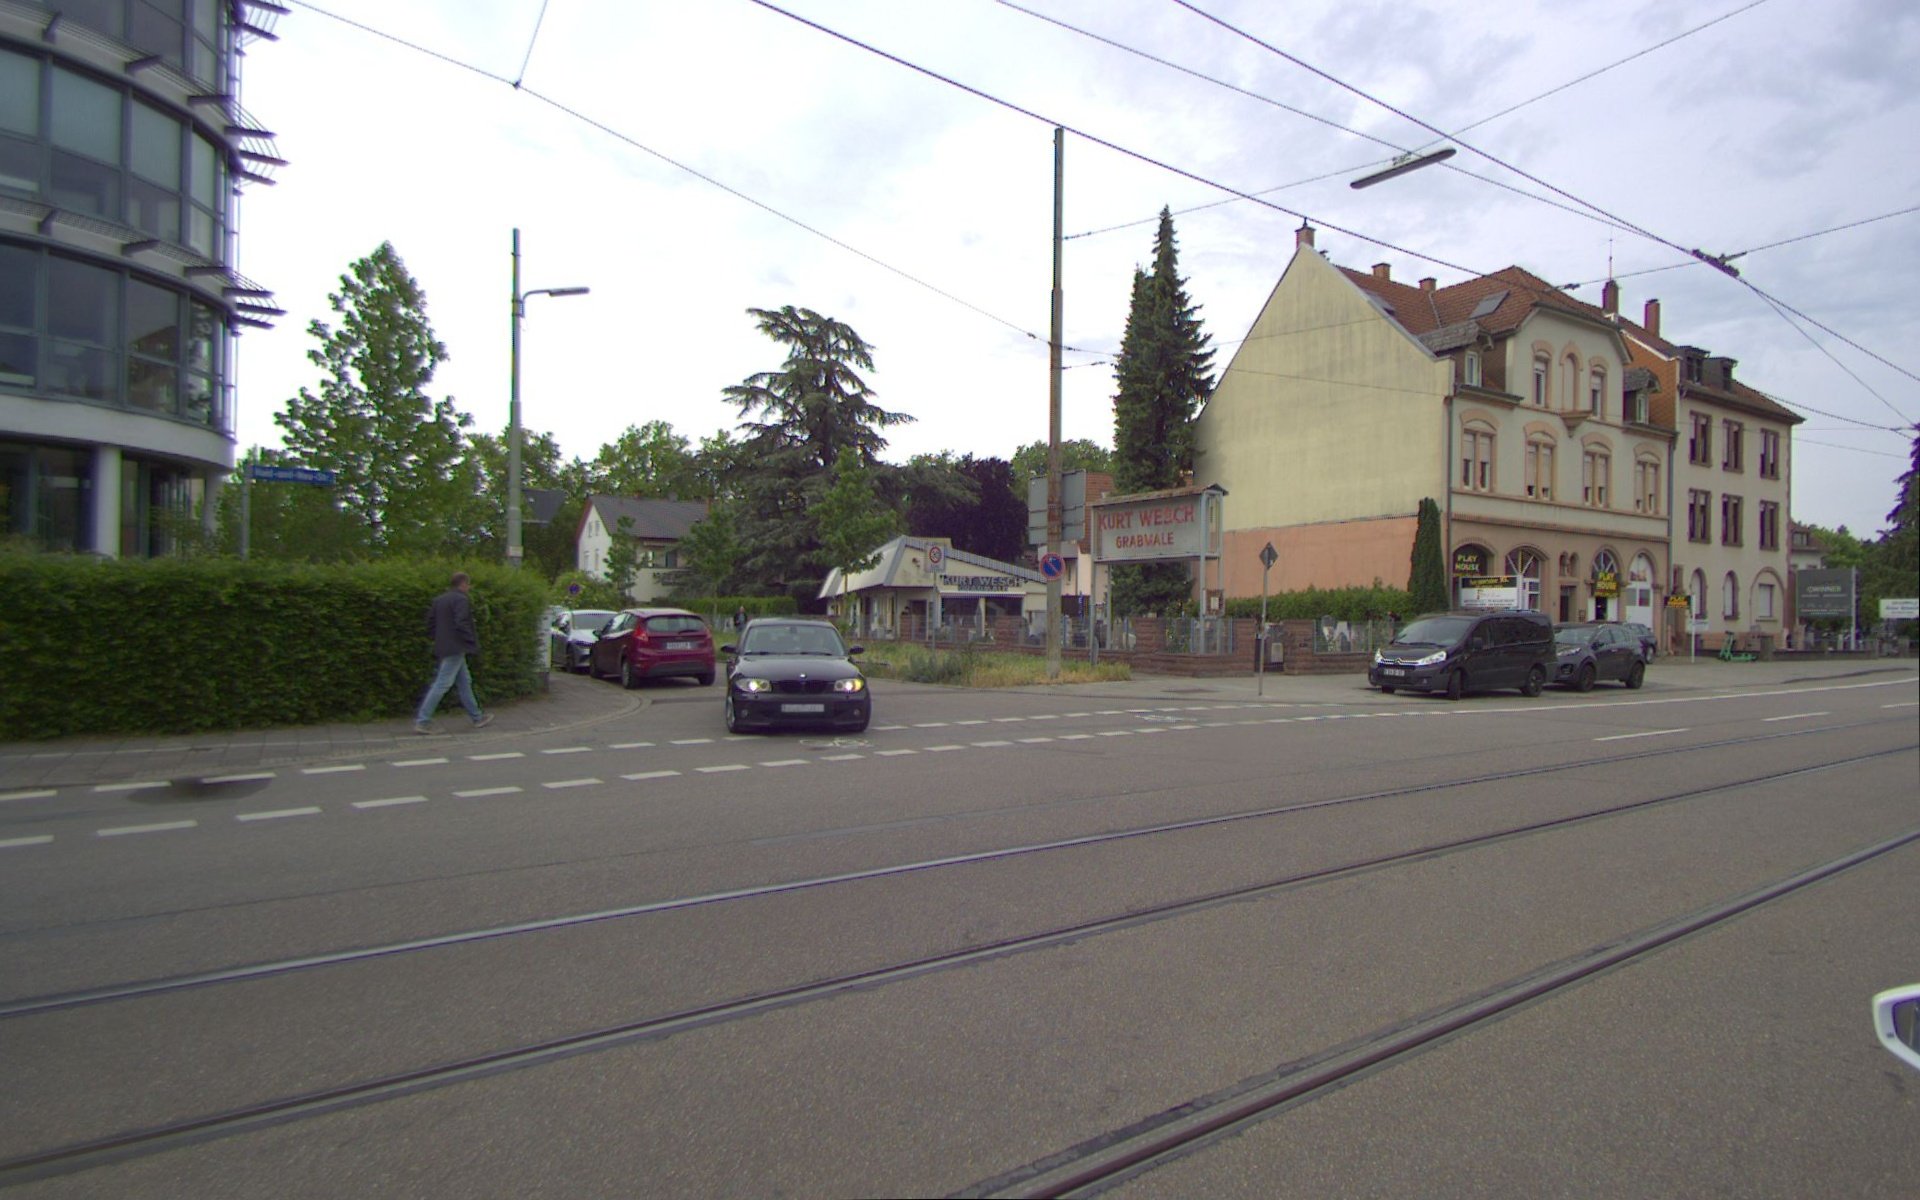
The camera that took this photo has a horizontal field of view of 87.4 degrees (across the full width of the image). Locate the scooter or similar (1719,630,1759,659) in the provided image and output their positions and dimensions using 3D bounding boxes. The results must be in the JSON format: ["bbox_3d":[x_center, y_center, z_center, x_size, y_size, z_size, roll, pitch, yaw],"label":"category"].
[{"bbox_3d":[31.100,1.769,40.102,1.157,1.116,0.527,1,0,30],"label":"scooter or similar"}]

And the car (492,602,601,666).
[{"bbox_3d":[-11.829,0.917,28.580,1.981,1.673,3.959,2,-1,-36],"label":"car"}]

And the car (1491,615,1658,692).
[{"bbox_3d":[16.113,1.327,26.285,4.487,1.773,2.024,1,1,-34],"label":"car"}]

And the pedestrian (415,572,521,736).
[{"bbox_3d":[-5.849,0.621,11.924,1.047,1.849,0.800,2,0,-30],"label":"pedestrian"}]

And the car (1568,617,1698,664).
[{"bbox_3d":[23.603,1.408,35.186,4.848,1.512,1.983,2,-1,-32],"label":"car"}]

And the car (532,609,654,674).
[{"bbox_3d":[-8.743,0.927,23.759,1.761,1.367,4.009,2,-1,-35],"label":"car"}]

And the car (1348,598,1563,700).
[{"bbox_3d":[11.246,1.057,22.687,5.129,2.040,1.975,2,1,-33],"label":"car"}]

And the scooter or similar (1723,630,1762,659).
[{"bbox_3d":[31.699,1.789,40.684,1.157,1.116,0.527,1,0,30],"label":"scooter or similar"}]

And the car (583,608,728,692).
[{"bbox_3d":[-6.094,0.894,19.812,1.707,1.441,3.983,-1,0,-33],"label":"car"}]

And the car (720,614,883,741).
[{"bbox_3d":[-2.284,0.927,13.582,1.758,1.387,4.100,2,0,-15],"label":"car"}]

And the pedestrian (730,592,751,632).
[{"bbox_3d":[-10.001,0.545,45.770,0.752,1.798,0.631,1,0,-28],"label":"pedestrian"}]
